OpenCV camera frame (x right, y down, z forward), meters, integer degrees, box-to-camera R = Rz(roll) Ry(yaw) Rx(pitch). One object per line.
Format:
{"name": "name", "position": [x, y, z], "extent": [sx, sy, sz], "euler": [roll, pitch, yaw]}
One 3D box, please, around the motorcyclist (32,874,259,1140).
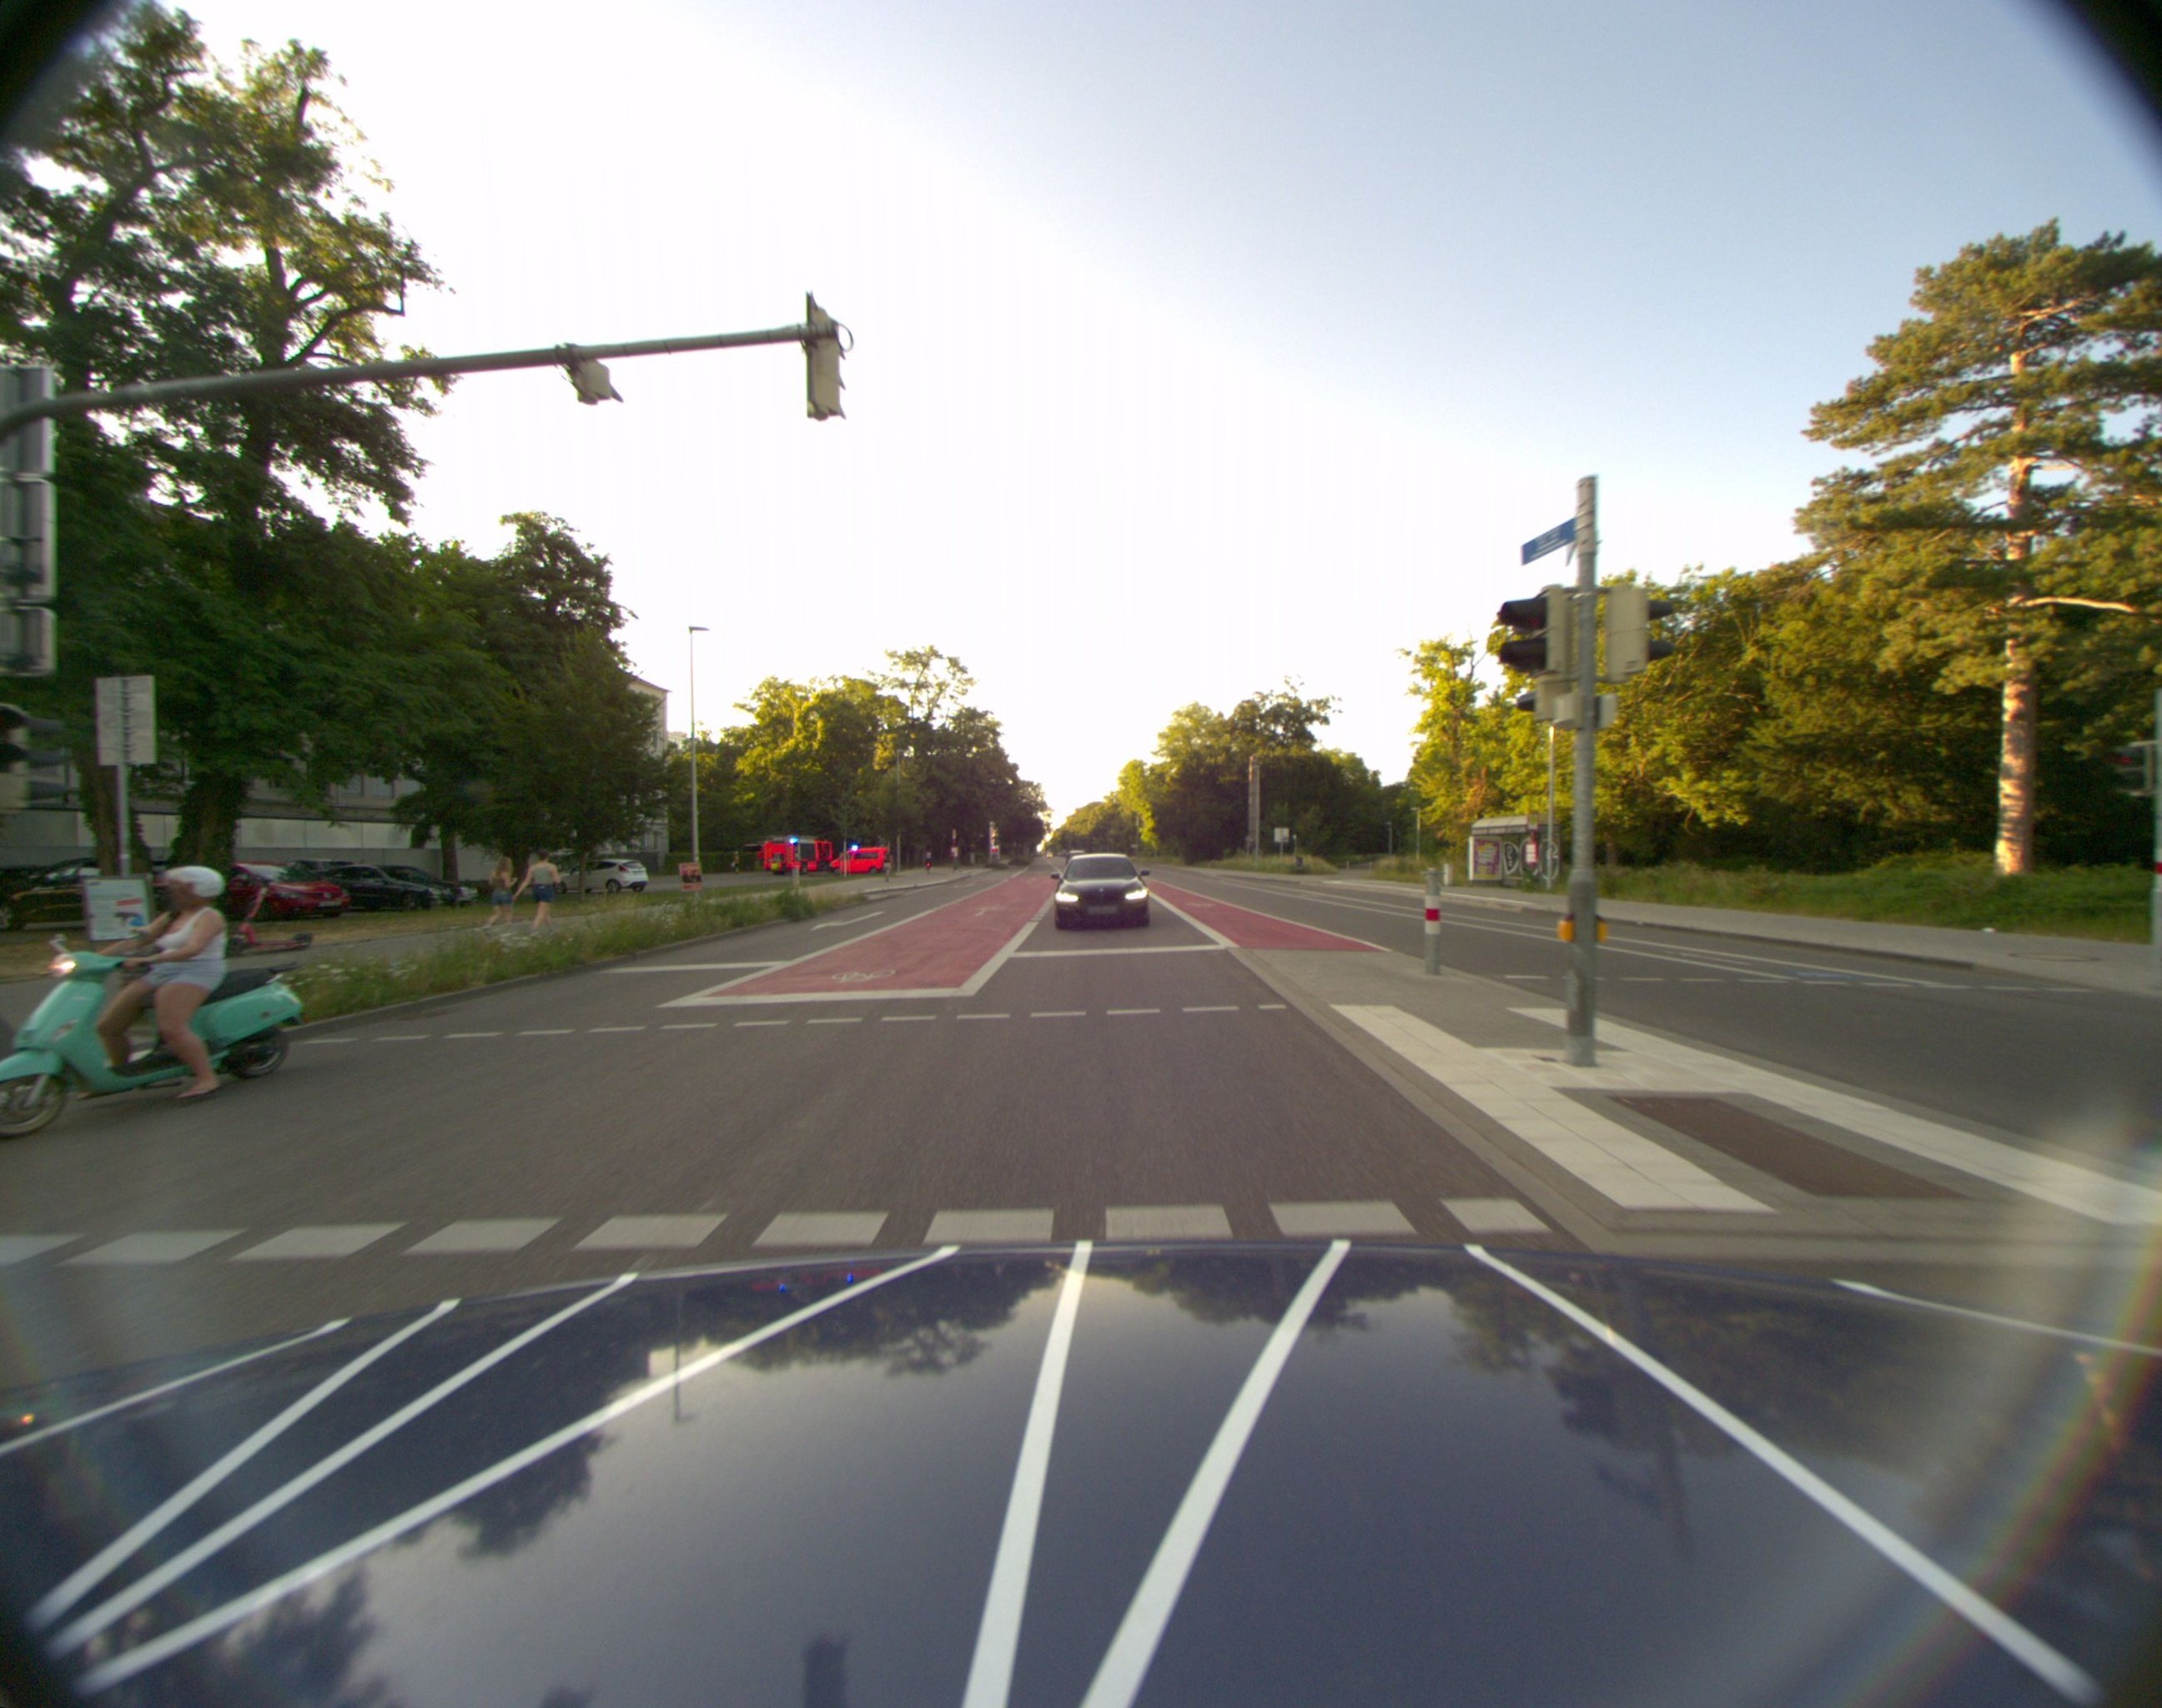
{"name": "motorcyclist", "position": [-6.565, 1.020, 5.368], "extent": [0.739, 1.727, 0.691], "euler": [-1, 1, 9]}

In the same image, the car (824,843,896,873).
{"name": "car", "position": [-17.864, 0.281, 61.476], "extent": [5.164, 2.379, 2.000], "euler": [0, 1, 3]}

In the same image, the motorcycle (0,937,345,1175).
{"name": "motorcycle", "position": [-6.556, 1.290, 5.367], "extent": [0.683, 1.190, 1.895], "euler": [-1, 0, 9]}

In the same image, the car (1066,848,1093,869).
{"name": "car", "position": [-0.148, 0.344, 59.988], "extent": [1.850, 1.473, 4.702], "euler": [-3, 0, -2]}

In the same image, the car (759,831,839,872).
{"name": "car", "position": [-23.556, -0.210, 63.985], "extent": [2.770, 3.225, 8.301], "euler": [0, 1, 7]}

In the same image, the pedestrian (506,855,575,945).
{"name": "pedestrian", "position": [-10.186, 0.851, 14.339], "extent": [0.721, 1.650, 0.776], "euler": [0, 1, 0]}

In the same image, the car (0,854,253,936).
{"name": "car", "position": [-21.936, 0.891, 17.350], "extent": [4.234, 1.730, 1.919], "euler": [0, 1, 6]}

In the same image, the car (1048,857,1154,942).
{"name": "car", "position": [0.379, 0.812, 15.983], "extent": [1.818, 1.391, 5.213], "euler": [-2, 0, 1]}

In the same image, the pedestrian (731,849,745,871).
{"name": "pedestrian", "position": [-29.430, 0.500, 65.190], "extent": [0.681, 1.831, 0.847], "euler": [0, 0, 17]}

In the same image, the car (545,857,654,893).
{"name": "car", "position": [-20.640, 0.879, 32.639], "extent": [3.662, 1.451, 1.665], "euler": [0, 1, 5]}

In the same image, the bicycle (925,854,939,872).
{"name": "bicycle", "position": [-10.510, 0.613, 53.748], "extent": [0.571, 1.233, 1.899], "euler": [0, 1, 1]}

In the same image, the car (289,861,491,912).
{"name": "car", "position": [-21.009, 0.975, 23.219], "extent": [4.516, 1.455, 1.919], "euler": [0, 1, 3]}

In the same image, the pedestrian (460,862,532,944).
{"name": "pedestrian", "position": [-11.100, 0.914, 14.447], "extent": [0.737, 1.514, 0.789], "euler": [0, 1, 1]}

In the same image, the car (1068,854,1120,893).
{"name": "car", "position": [0.454, 0.726, 30.787], "extent": [1.850, 1.346, 4.702], "euler": [-3, 0, -1]}

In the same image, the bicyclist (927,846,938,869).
{"name": "bicyclist", "position": [-10.514, 0.236, 53.691], "extent": [0.571, 1.623, 1.038], "euler": [0, 1, 0]}

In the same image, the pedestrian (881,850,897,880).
{"name": "pedestrian", "position": [-10.492, 0.580, 41.590], "extent": [0.682, 1.613, 0.688], "euler": [0, 0, 0]}

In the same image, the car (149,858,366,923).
{"name": "car", "position": [-21.782, 0.935, 20.186], "extent": [3.994, 1.601, 1.920], "euler": [0, 1, 7]}

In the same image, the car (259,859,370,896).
{"name": "car", "position": [-32.110, 0.950, 31.867], "extent": [3.308, 1.451, 1.772], "euler": [0, 1, 13]}

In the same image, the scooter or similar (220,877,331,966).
{"name": "scooter or similar", "position": [-12.519, 1.020, 11.849], "extent": [0.441, 1.264, 1.179], "euler": [0, 1, 0]}

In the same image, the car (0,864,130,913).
{"name": "car", "position": [-33.029, 1.082, 24.075], "extent": [3.624, 1.451, 1.770], "euler": [0, 1, 2]}
